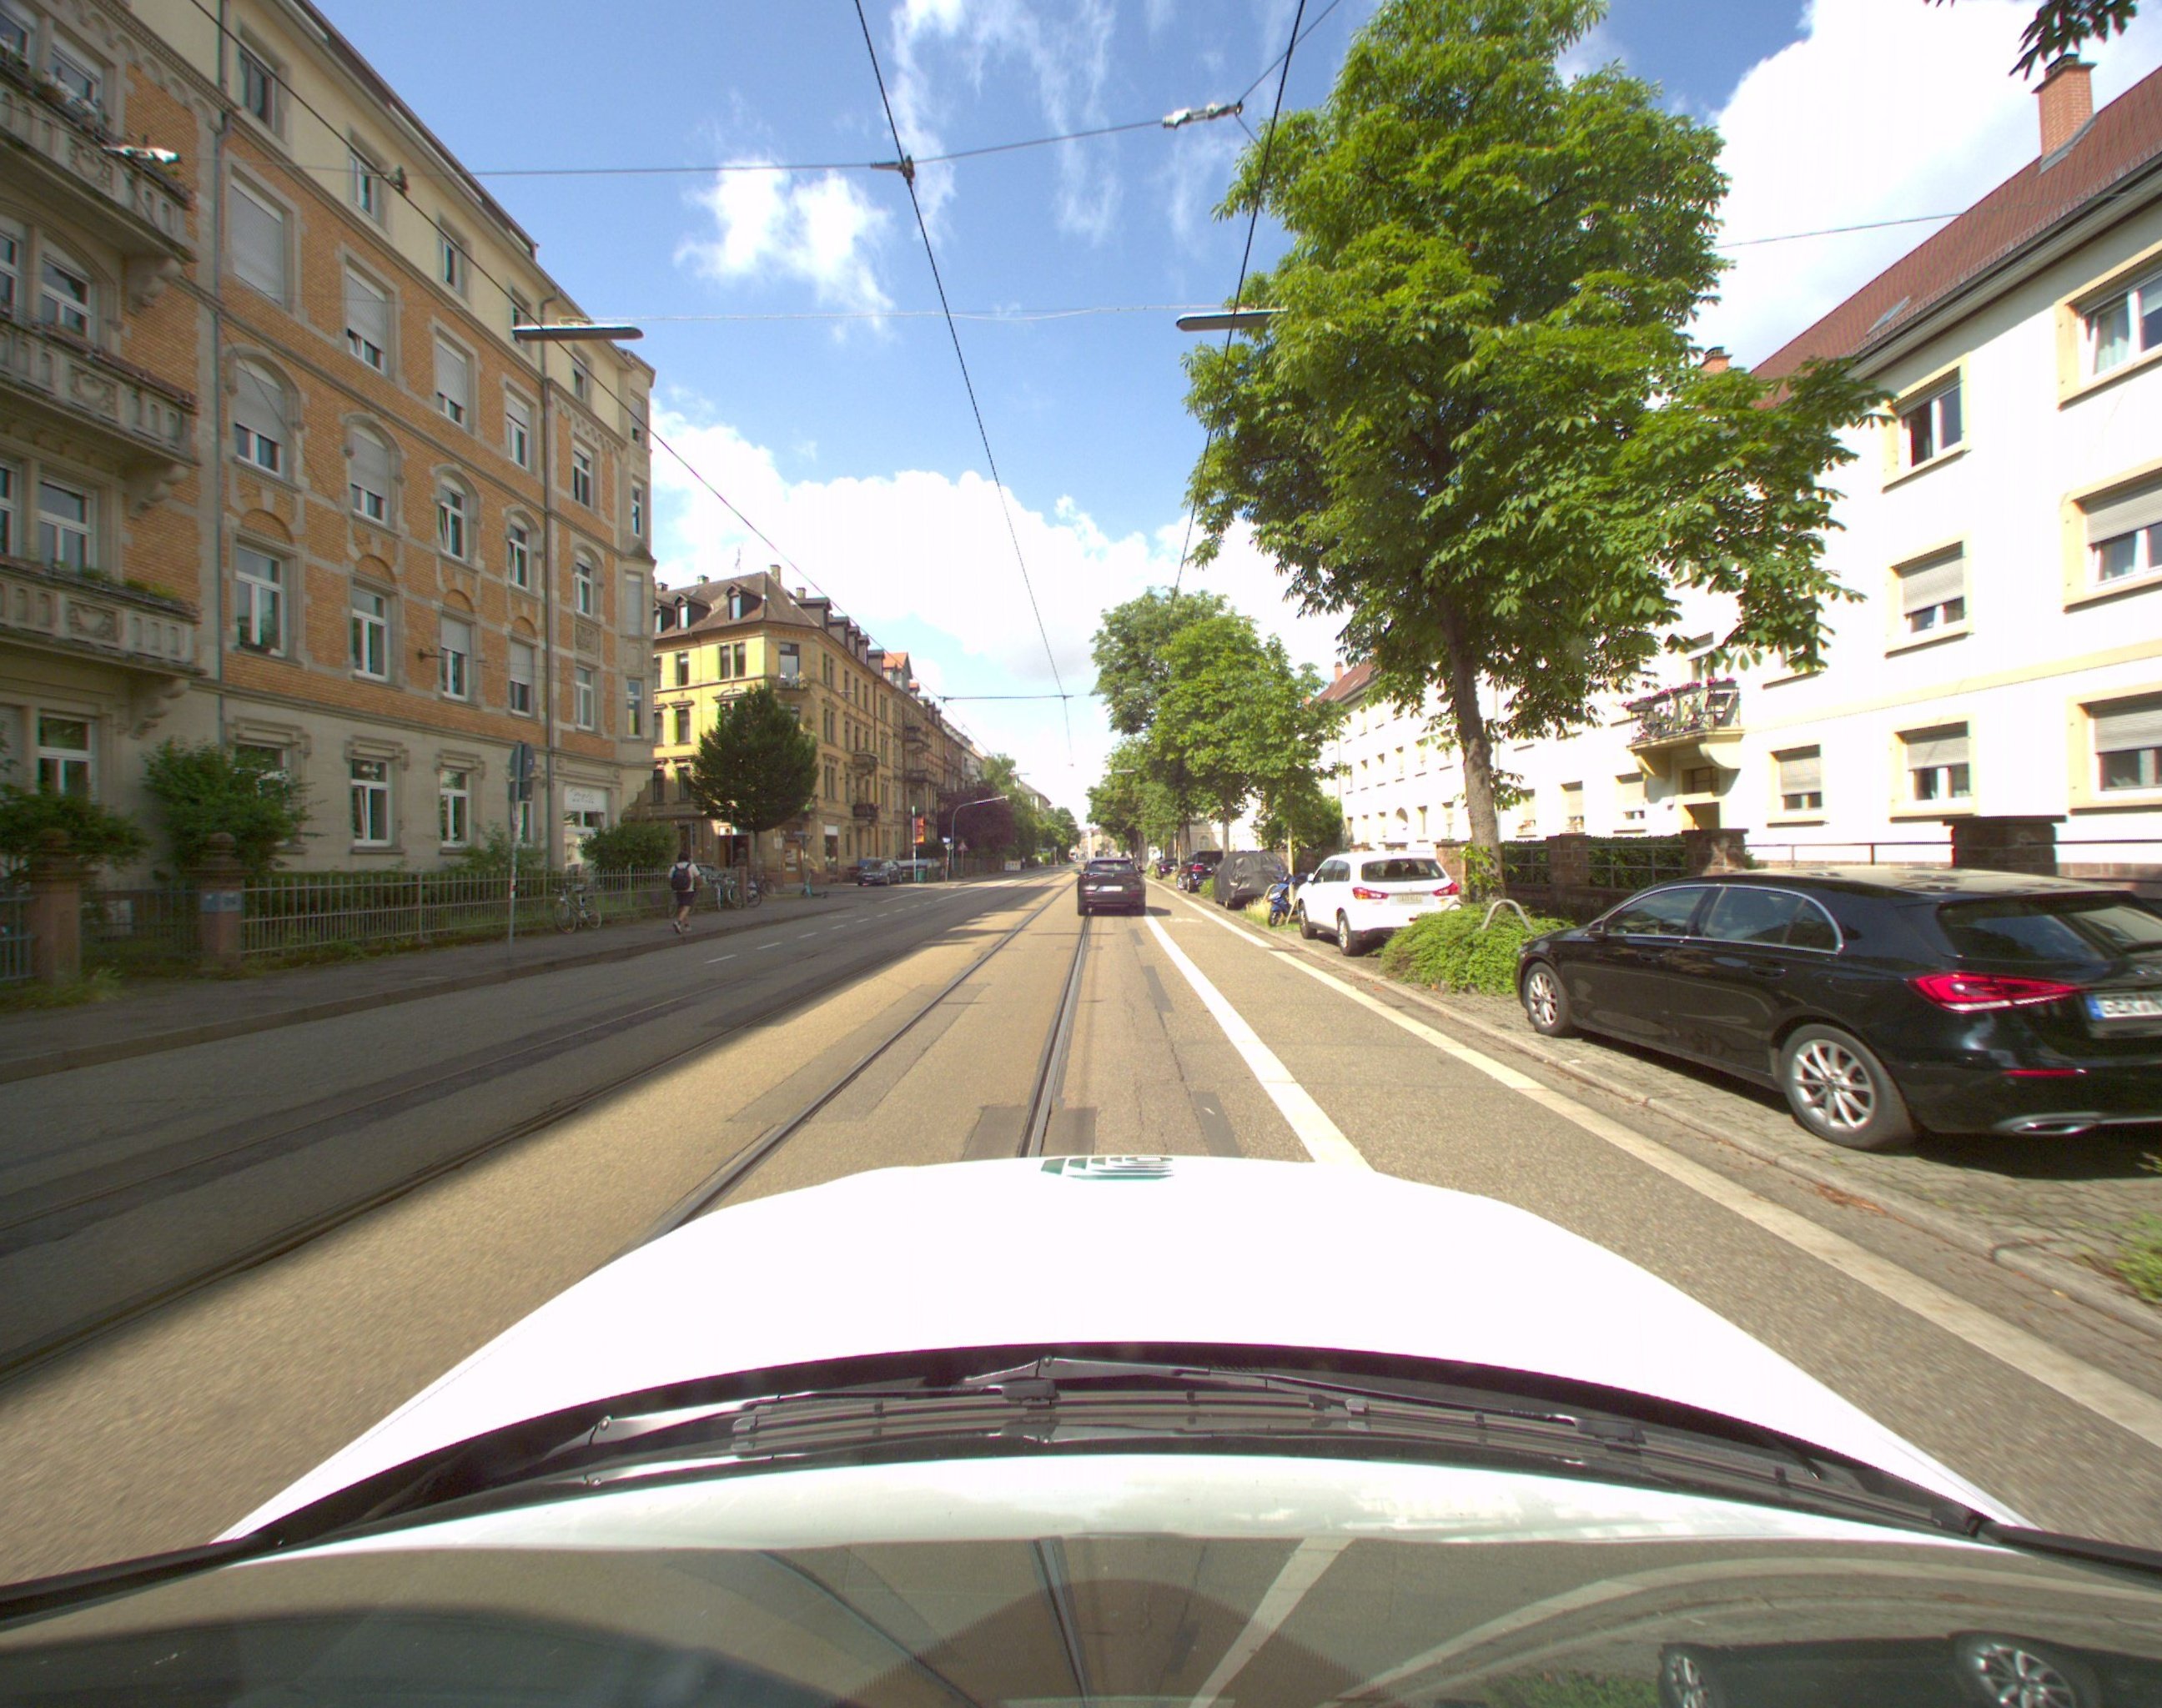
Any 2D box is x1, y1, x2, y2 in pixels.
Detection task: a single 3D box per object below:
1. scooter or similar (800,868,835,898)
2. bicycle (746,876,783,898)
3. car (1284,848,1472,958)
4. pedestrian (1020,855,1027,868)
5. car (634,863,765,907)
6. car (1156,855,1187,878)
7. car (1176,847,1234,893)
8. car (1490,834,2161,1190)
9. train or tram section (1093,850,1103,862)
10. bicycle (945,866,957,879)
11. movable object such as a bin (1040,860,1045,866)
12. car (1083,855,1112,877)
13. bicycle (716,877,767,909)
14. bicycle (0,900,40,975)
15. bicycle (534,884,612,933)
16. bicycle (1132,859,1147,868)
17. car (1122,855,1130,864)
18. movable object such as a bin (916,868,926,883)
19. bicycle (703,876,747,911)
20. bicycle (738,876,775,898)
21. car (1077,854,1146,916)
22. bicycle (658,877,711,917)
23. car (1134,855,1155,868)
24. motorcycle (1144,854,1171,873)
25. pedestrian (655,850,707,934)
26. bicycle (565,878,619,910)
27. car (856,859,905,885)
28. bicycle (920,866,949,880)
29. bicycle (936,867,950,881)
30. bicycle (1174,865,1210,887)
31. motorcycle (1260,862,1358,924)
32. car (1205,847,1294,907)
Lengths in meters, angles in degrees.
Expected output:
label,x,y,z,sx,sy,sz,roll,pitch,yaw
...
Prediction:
label,x,y,z,sx,sy,sz,roll,pitch,yaw
scooter or similar,-11.236,1.238,34.763,1.369,1.235,0.400,0,-1,-27
bicycle,-13.256,1.367,34.123,0.519,0.837,1.705,-1,1,14
car,4.906,0.724,14.104,1.736,1.581,4.249,-1,0,1
pedestrian,-7.522,1.002,106.824,0.820,1.706,0.891,-1,-1,-2
car,-12.889,1.026,27.630,3.586,1.403,1.789,-1,0,5
car,6.008,0.833,54.552,1.700,1.479,4.198,1,0,1
car,5.245,0.635,34.893,1.820,1.782,4.734,-1,0,1
car,4.733,0.680,5.658,1.655,1.521,4.288,-1,0,1
train or tram section,5.315,0.611,255.229,2.564,3.772,13.021,-1,0,-1
bicycle,-9.562,1.353,60.081,0.528,0.946,1.968,-1,0,1
movable object such as a bin,-6.706,1.509,141.101,0.742,0.988,1.114,1,-1,1
car,1.187,0.849,59.207,1.986,1.529,4.001,1,0,1
bicycle,-10.915,1.239,26.180,1.447,0.976,0.404,-1,0,1
bicycle,-14.559,1.083,10.405,1.937,0.932,0.422,-1,0,0
bicycle,-10.860,1.139,17.494,0.420,0.932,1.949,-1,0,1
bicycle,7.620,1.220,105.876,1.923,1.176,0.515,-2,-1,13
car,9.327,1.121,168.828,1.714,1.968,4.209,-1,0,2
movable object such as a bin,-10.223,1.364,51.979,0.523,0.906,0.636,-1,0,0
bicycle,-10.663,1.168,24.466,0.420,0.976,1.949,-1,0,1
bicycle,-13.777,1.378,34.632,0.519,0.837,1.705,-1,1,14
car,0.809,0.781,22.287,1.714,1.526,3.590,-1,0,1
bicycle,-10.647,1.129,21.925,0.420,0.976,1.949,-1,0,1
car,7.257,0.853,93.017,1.841,1.409,4.392,-3,0,-2
motorcycle,6.564,0.813,70.208,2.357,1.597,0.683,1,1,40
pedestrian,-8.692,0.810,17.753,0.531,1.760,1.106,1,0,1
bicycle,-15.555,1.276,25.903,1.447,0.976,0.404,-1,0,1
car,-12.226,1.038,49.907,1.679,1.459,4.766,-2,0,2
bicycle,-10.507,1.343,58.500,1.957,0.946,0.531,-1,0,-4
bicycle,-9.487,1.356,56.099,0.528,0.946,1.968,-1,0,1
bicycle,5.466,1.063,40.076,1.702,1.007,0.638,-2,0,1
motorcycle,5.180,0.879,18.558,2.002,1.337,0.746,-1,0,-3
car,5.107,0.664,25.230,1.856,1.653,4.638,-1,0,1
